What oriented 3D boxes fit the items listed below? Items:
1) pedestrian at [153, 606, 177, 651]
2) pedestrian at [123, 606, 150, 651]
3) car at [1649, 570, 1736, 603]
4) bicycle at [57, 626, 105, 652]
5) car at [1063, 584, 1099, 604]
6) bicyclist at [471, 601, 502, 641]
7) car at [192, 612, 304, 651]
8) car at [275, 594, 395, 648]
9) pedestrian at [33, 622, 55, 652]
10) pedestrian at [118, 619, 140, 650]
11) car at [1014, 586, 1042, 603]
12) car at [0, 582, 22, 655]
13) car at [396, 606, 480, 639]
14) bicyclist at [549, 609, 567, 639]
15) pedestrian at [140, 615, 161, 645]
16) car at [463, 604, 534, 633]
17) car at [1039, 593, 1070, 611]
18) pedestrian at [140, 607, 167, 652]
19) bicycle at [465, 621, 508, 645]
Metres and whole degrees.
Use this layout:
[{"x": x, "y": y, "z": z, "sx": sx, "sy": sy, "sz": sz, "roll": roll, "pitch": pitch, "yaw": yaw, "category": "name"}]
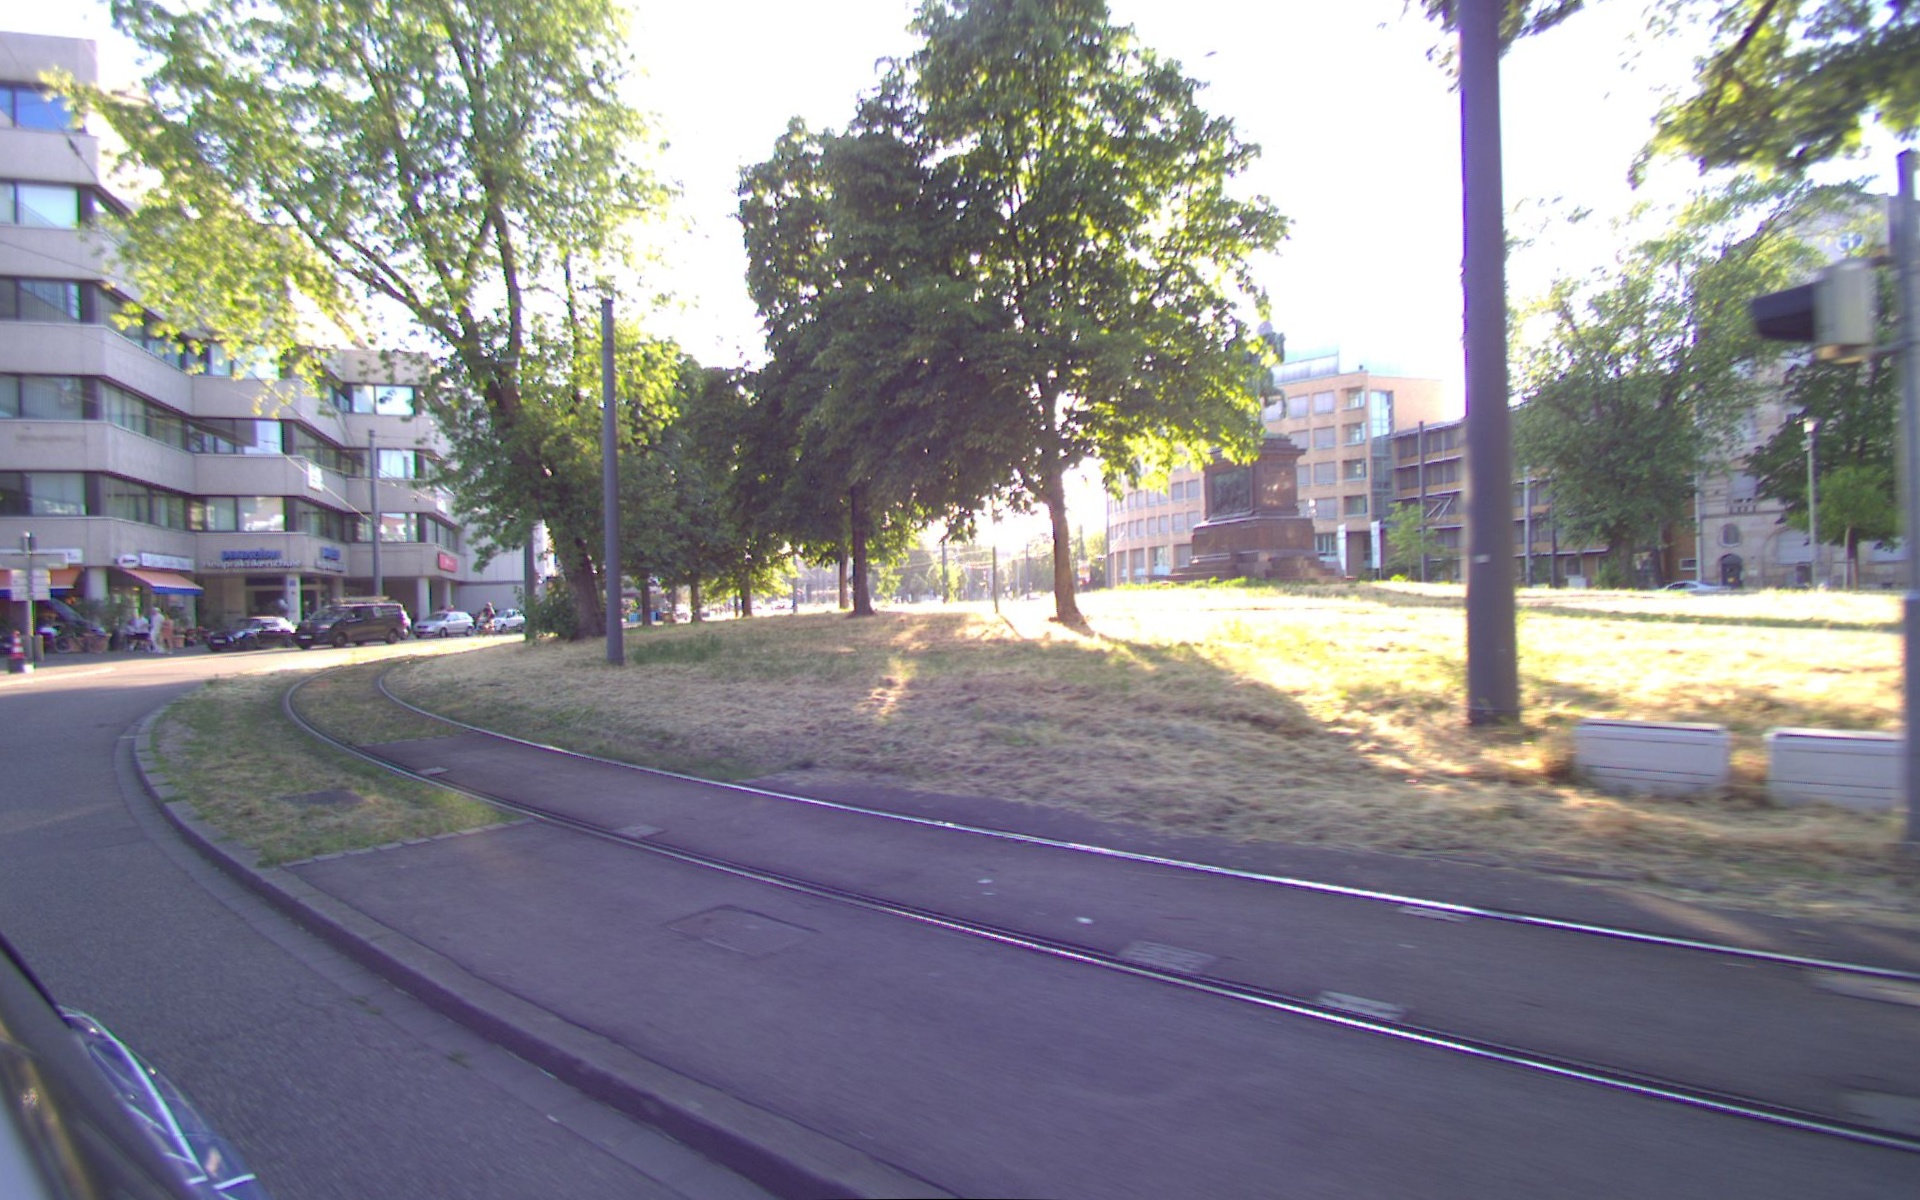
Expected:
[{"x": -33.017, "y": 1.189, "z": 42.031, "sx": 0.525, "sy": 1.852, "sz": 0.501, "roll": 2, "pitch": -1, "yaw": -8, "category": "pedestrian"}, {"x": -34.428, "y": 1.187, "z": 42.318, "sx": 0.611, "sy": 1.852, "sz": 0.537, "roll": 2, "pitch": -1, "yaw": -4, "category": "pedestrian"}, {"x": 42.837, "y": -0.803, "z": 59.295, "sx": 1.970, "sy": 1.807, "sz": 4.003, "roll": -2, "pitch": 1, "yaw": -3, "category": "car"}, {"x": -35.485, "y": 1.574, "z": 40.863, "sx": 1.425, "sy": 1.000, "sz": 0.532, "roll": 0, "pitch": 1, "yaw": -44, "category": "bicycle"}, {"x": 13.148, "y": -0.613, "z": 110.244, "sx": 1.966, "sy": 2.028, "sz": 4.563, "roll": -3, "pitch": 1, "yaw": -20, "category": "car"}, {"x": -24.660, "y": 1.092, "z": 52.708, "sx": 0.914, "sy": 1.988, "sz": 1.110, "roll": -2, "pitch": 1, "yaw": 9, "category": "bicyclist"}, {"x": -31.420, "y": 1.372, "z": 44.805, "sx": 1.774, "sy": 1.453, "sz": 3.991, "roll": -2, "pitch": 1, "yaw": 8, "category": "car"}, {"x": -27.510, "y": 0.872, "z": 44.737, "sx": 1.977, "sy": 2.172, "sz": 4.511, "roll": -2, "pitch": 1, "yaw": 9, "category": "car"}, {"x": -36.807, "y": 1.480, "z": 40.658, "sx": 0.454, "sy": 1.203, "sz": 0.422, "roll": 3, "pitch": -1, "yaw": -17, "category": "pedestrian"}, {"x": -36.313, "y": 1.505, "z": 44.204, "sx": 0.601, "sy": 1.331, "sz": 0.561, "roll": -1, "pitch": 0, "yaw": -26, "category": "pedestrian"}, {"x": 8.345, "y": -0.649, "z": 124.829, "sx": 1.966, "sy": 2.028, "sz": 4.013, "roll": -3, "pitch": 1, "yaw": -20, "category": "car"}, {"x": -38.863, "y": 0.729, "z": 37.672, "sx": 5.340, "sy": 2.748, "sz": 2.189, "roll": 0, "pitch": 0, "yaw": -20, "category": "car"}, {"x": -30.028, "y": 1.254, "z": 58.394, "sx": 1.977, "sy": 1.617, "sz": 4.511, "roll": -2, "pitch": 1, "yaw": 9, "category": "car"}, {"x": -24.533, "y": 1.460, "z": 61.743, "sx": 0.848, "sy": 1.796, "sz": 0.988, "roll": -1, "pitch": 0, "yaw": -11, "category": "bicyclist"}, {"x": -37.020, "y": 1.360, "z": 46.277, "sx": 0.601, "sy": 1.331, "sz": 0.593, "roll": -1, "pitch": 0, "yaw": -26, "category": "pedestrian"}, {"x": -29.498, "y": 1.176, "z": 64.839, "sx": 1.977, "sy": 1.617, "sz": 4.511, "roll": -2, "pitch": 1, "yaw": 9, "category": "car"}, {"x": 10.955, "y": 0.241, "z": 117.198, "sx": 1.966, "sy": 2.028, "sz": 4.013, "roll": -3, "pitch": 1, "yaw": -20, "category": "car"}, {"x": -33.681, "y": 1.219, "z": 42.288, "sx": 0.565, "sy": 1.852, "sz": 0.604, "roll": 2, "pitch": -1, "yaw": -5, "category": "pedestrian"}, {"x": -24.639, "y": 1.702, "z": 52.690, "sx": 0.925, "sy": 1.084, "sz": 2.215, "roll": -2, "pitch": 1, "yaw": 9, "category": "bicycle"}]
